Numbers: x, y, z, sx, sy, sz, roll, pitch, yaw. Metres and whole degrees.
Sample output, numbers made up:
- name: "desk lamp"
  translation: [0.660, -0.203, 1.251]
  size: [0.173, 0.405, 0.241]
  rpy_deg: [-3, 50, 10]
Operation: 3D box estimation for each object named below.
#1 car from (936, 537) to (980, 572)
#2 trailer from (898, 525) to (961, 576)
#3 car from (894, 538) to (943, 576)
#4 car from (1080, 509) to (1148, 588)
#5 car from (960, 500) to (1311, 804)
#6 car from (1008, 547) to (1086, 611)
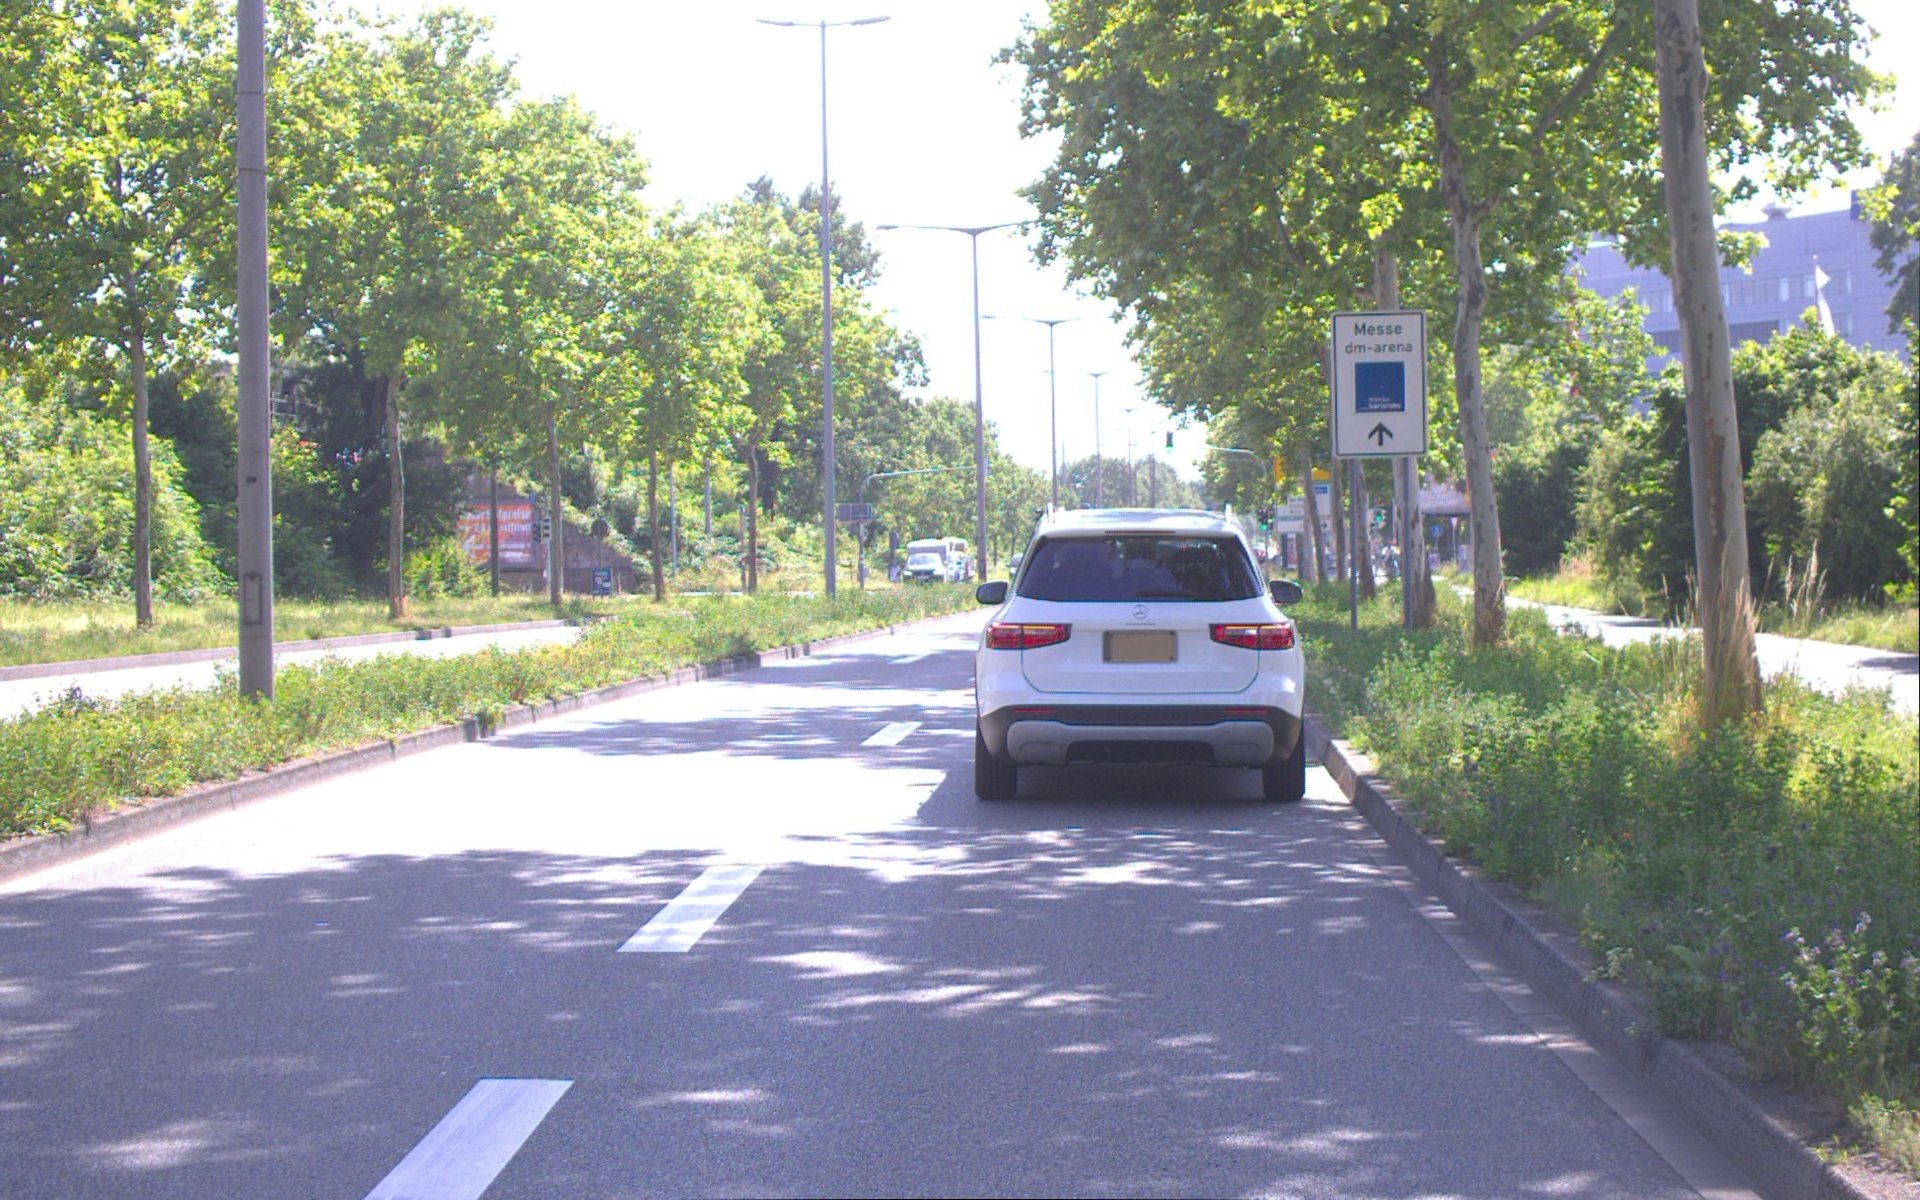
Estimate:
- name: "car"
  translation: [-0.100, -2.382, 181.166]
  size: [1.765, 1.783, 5.375]
  rpy_deg: [1, 1, 5]
- name: "trailer"
  translation: [-1.382, -2.234, 157.044]
  size: [2.309, 2.257, 5.537]
  rpy_deg: [0, 0, 5]
- name: "car"
  translation: [-1.824, -1.892, 152.098]
  size: [1.716, 1.616, 4.360]
  rpy_deg: [0, 0, 5]
- name: "car"
  translation: [5.354, -1.780, 119.164]
  size: [2.082, 2.647, 4.873]
  rpy_deg: [1, 0, 5]
- name: "car"
  translation: [0.969, 0.254, 20.237]
  size: [1.853, 1.602, 4.000]
  rpy_deg: [0, 1, 1]
- name: "car"
  translation: [2.316, -0.547, 90.559]
  size: [1.772, 1.641, 4.351]
  rpy_deg: [0, 0, 5]
